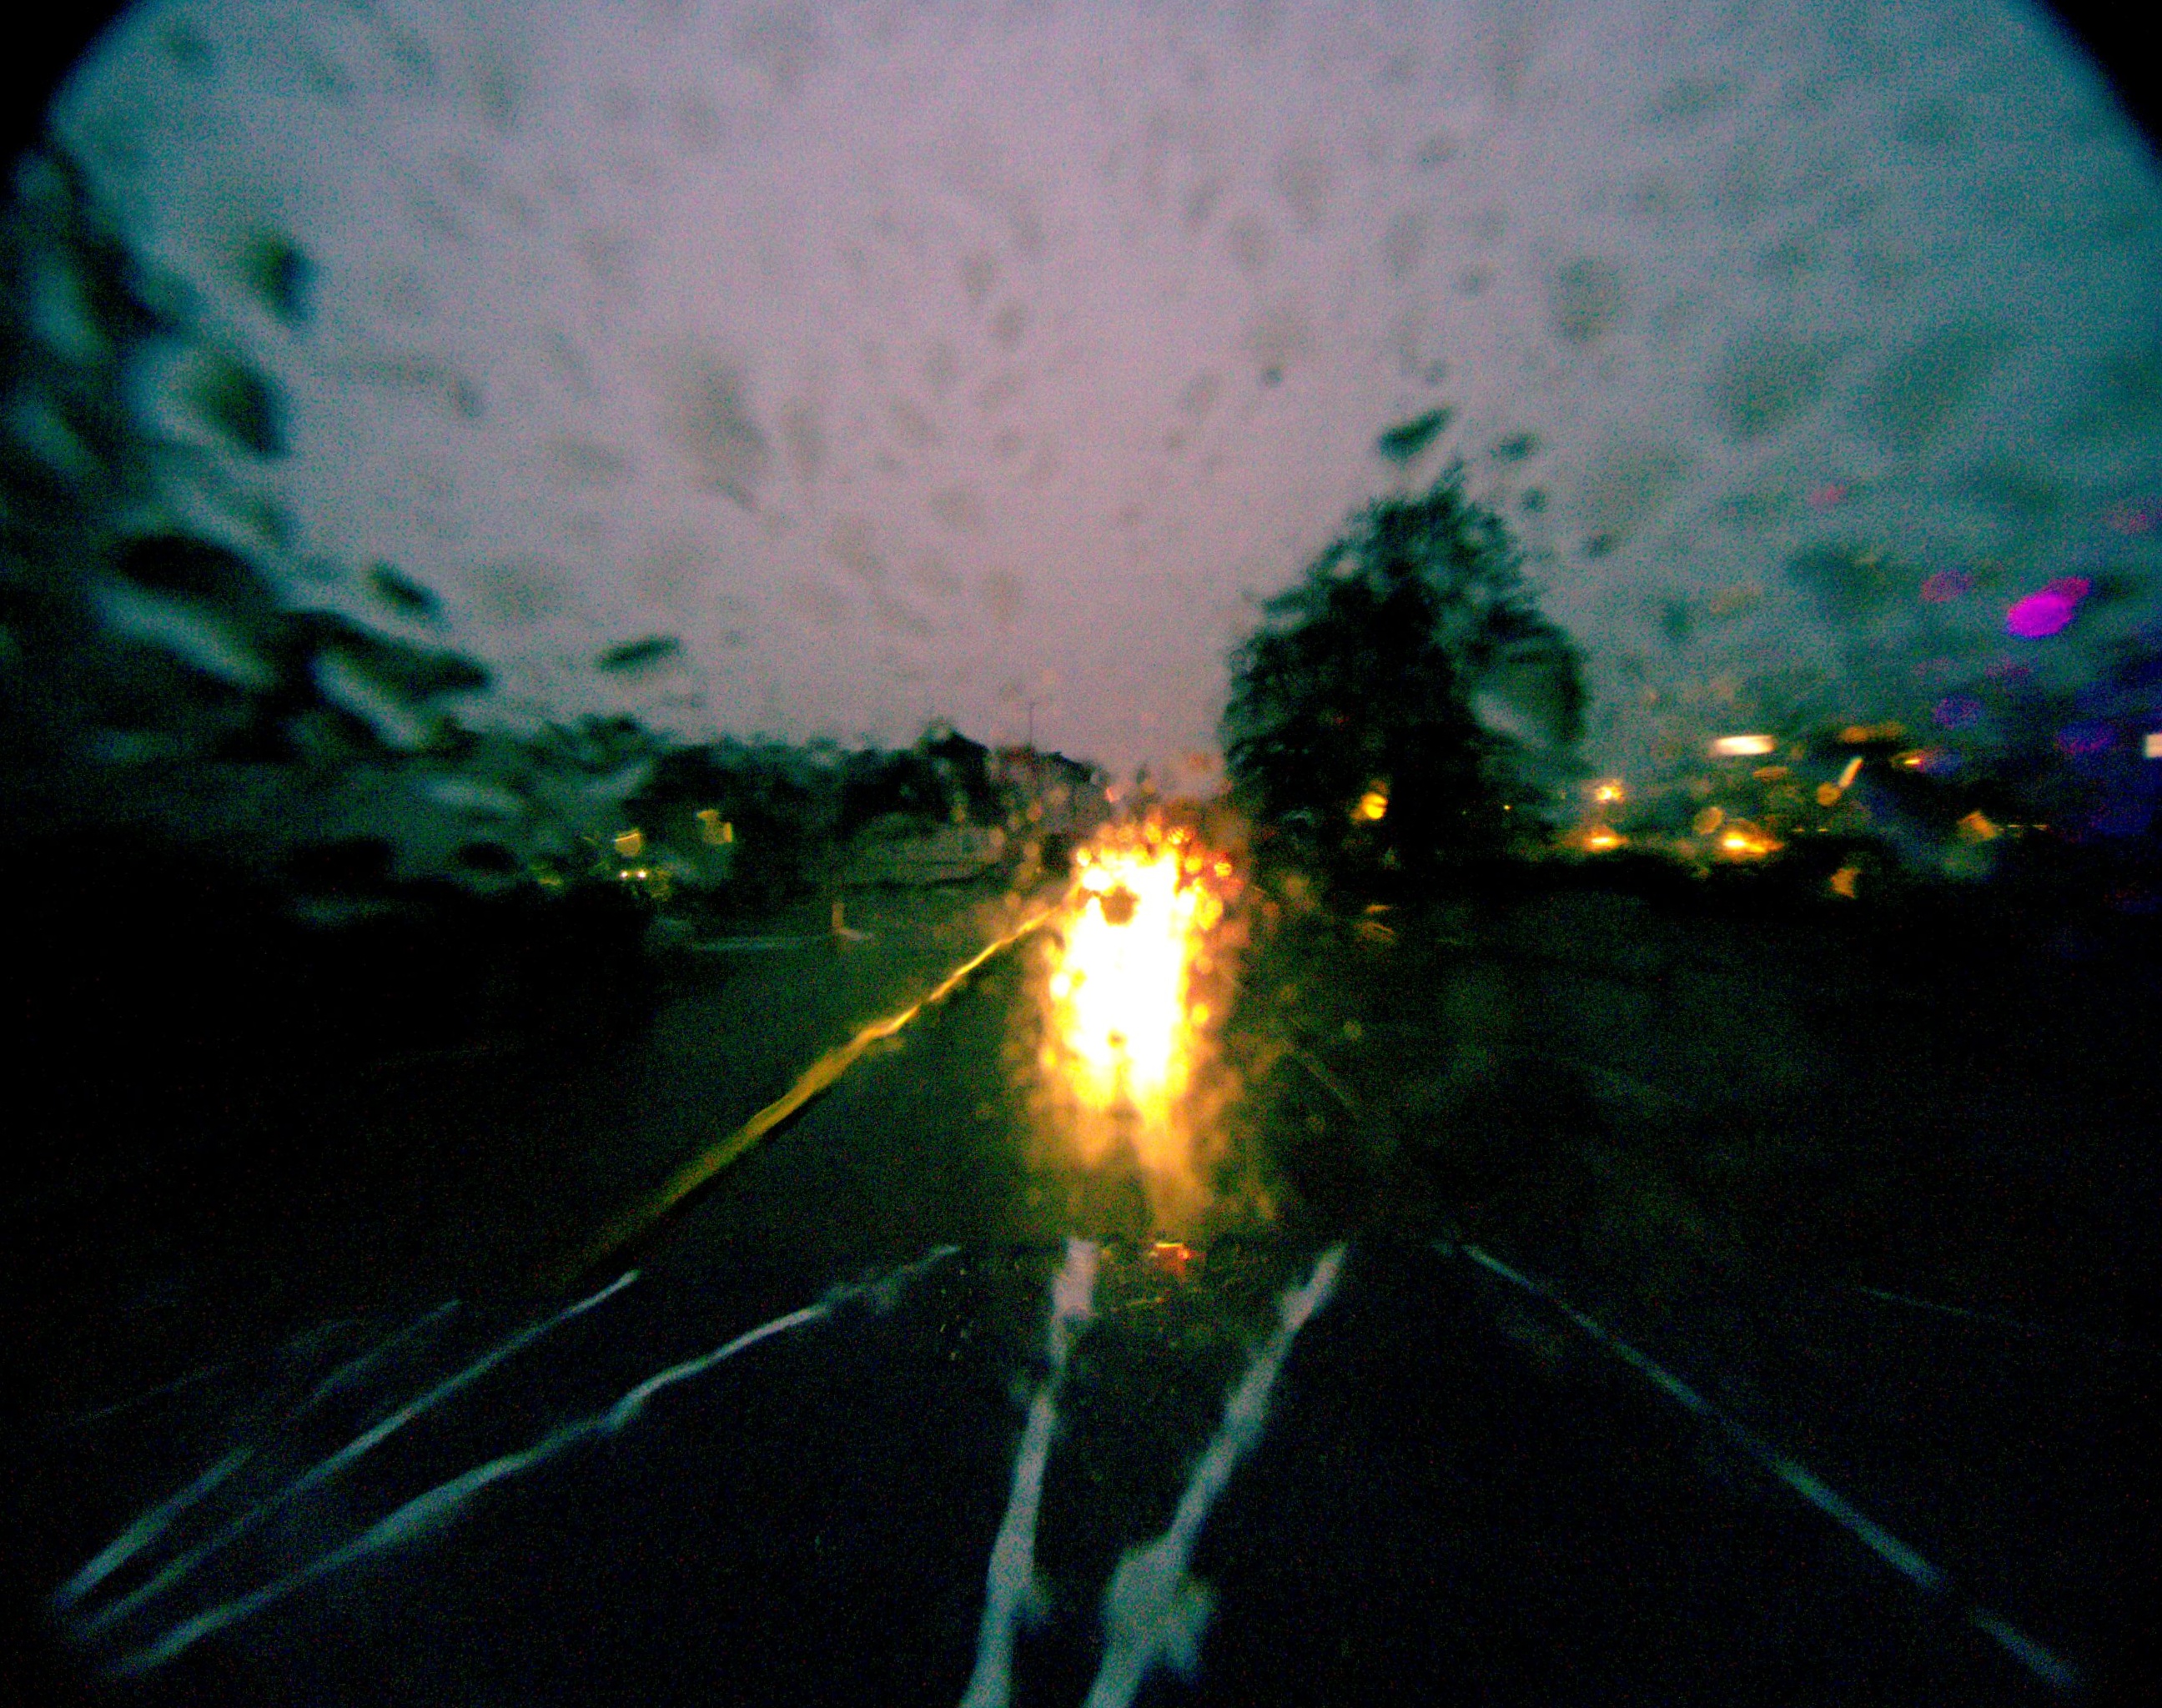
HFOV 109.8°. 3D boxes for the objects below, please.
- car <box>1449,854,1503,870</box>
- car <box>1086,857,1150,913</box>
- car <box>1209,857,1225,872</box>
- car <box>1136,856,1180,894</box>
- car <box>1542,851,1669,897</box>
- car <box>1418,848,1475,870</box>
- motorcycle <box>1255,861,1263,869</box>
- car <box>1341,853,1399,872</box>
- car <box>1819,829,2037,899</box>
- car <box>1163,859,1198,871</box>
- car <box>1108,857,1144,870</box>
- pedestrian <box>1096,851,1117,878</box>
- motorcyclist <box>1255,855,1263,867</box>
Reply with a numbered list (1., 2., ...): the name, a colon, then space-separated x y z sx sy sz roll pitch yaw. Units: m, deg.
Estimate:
1. car: 40.113 0.832 77.216 4.440 1.554 2.056 1 -1 2
2. car: 1.297 0.932 24.718 1.775 1.632 4.424 -1 0 6
3. car: 15.949 1.245 89.146 1.774 1.713 4.425 -1 0 9
4. car: 4.023 1.040 39.116 1.897 1.689 4.243 -3 0 9
5. car: 25.396 0.972 36.915 4.659 1.965 2.128 -2 -1 -3
6. car: 40.559 0.567 84.352 5.197 2.269 2.219 1 -1 2
7. motorcycle: 22.323 1.363 95.268 0.866 1.018 2.112 -1 0 16
8. car: 27.754 0.800 72.992 4.781 1.701 2.033 -1 0 2
9. car: 30.883 0.414 28.042 2.285 2.265 5.272 -2 -2 4
10. car: 12.557 1.388 95.785 4.030 1.486 1.781 -1 0 43
11. car: 5.551 1.150 93.387 4.178 1.432 1.799 -3 -1 8
12. pedestrian: 1.800 0.750 53.570 1.256 1.855 1.304 2 1 12
13. motorcyclist: 22.309 0.925 95.270 0.866 1.476 0.910 -1 1 16
